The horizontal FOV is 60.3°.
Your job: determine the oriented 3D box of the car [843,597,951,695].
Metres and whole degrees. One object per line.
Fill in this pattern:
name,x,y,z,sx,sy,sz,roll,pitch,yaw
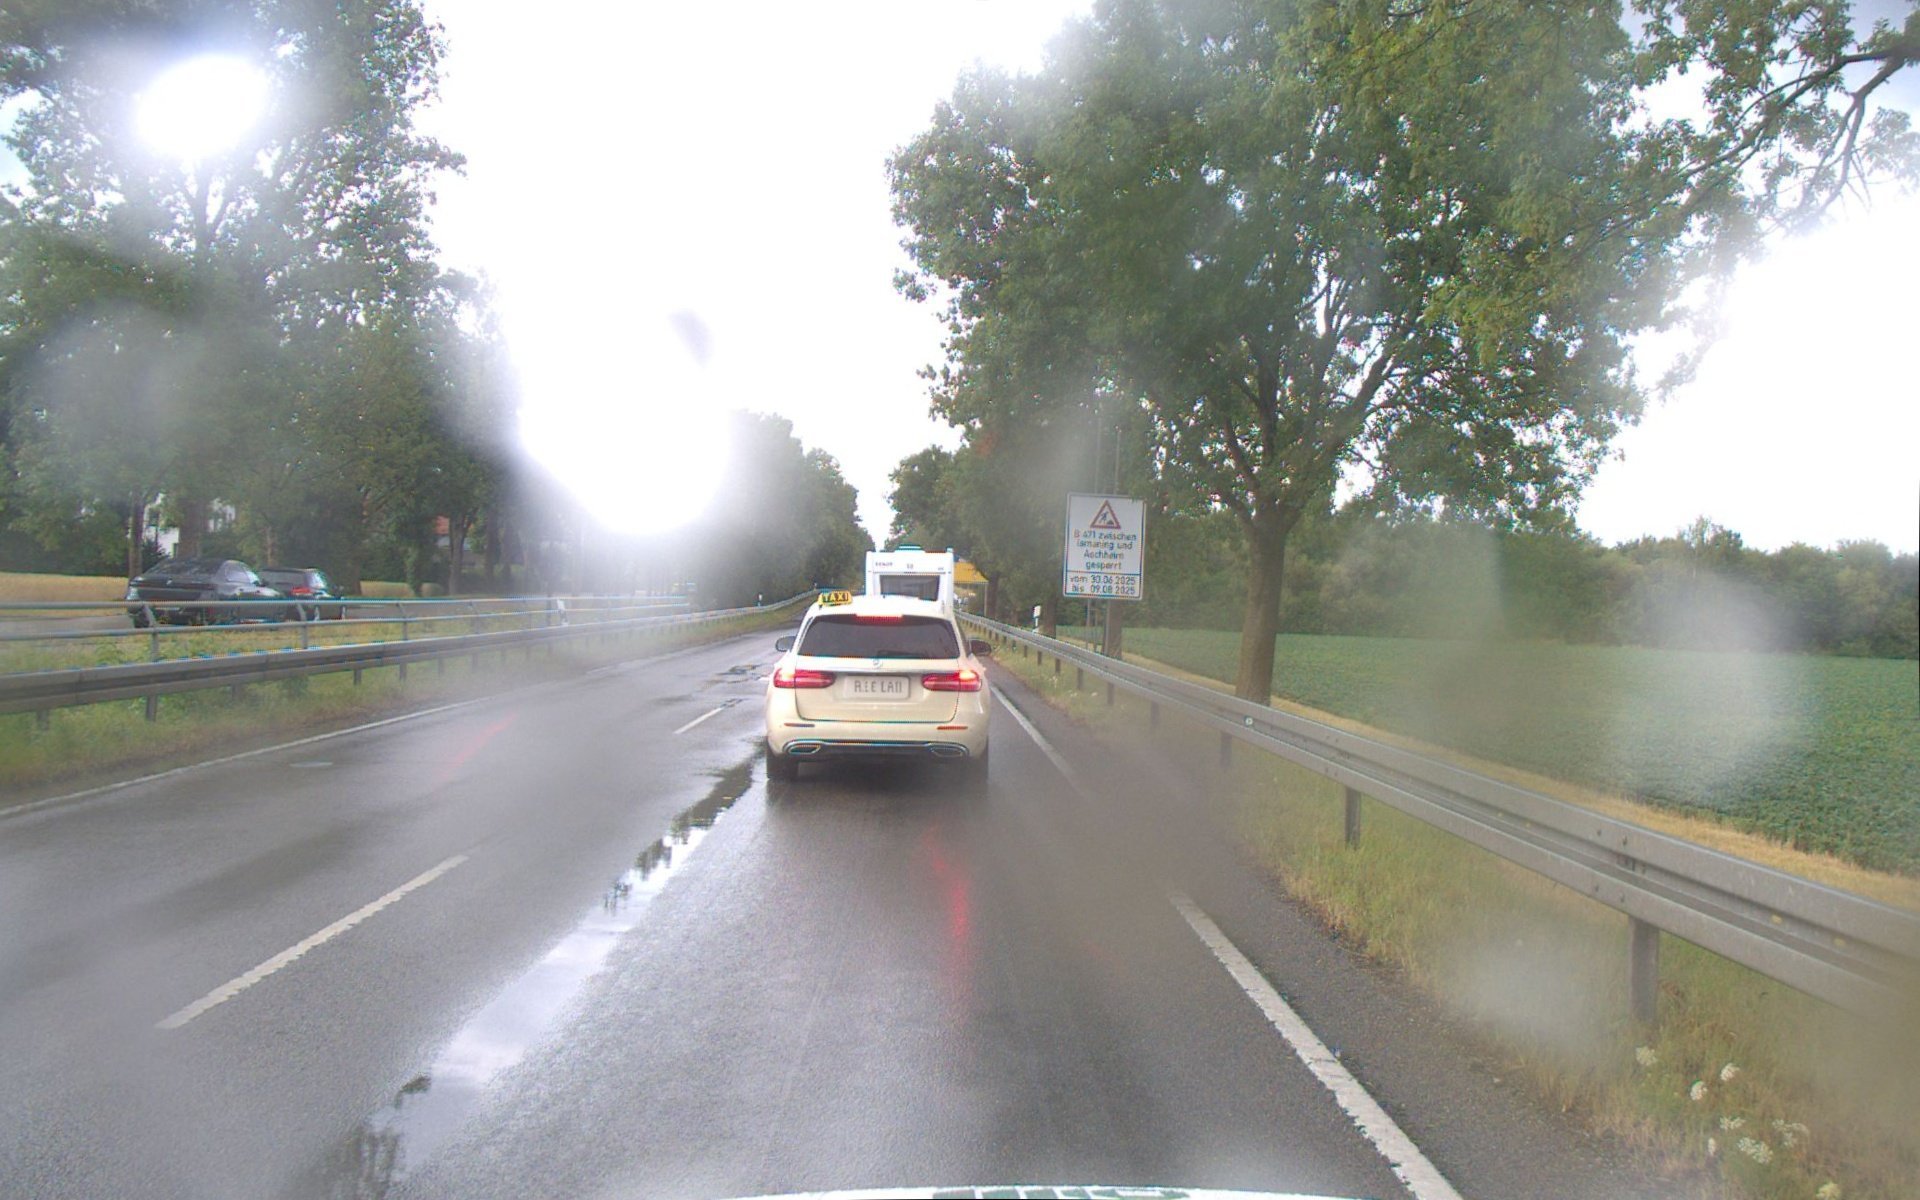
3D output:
car,-0.993,0.696,27.199,1.630,1.456,3.999,1,0,-1

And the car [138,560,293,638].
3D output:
car,-16.047,-0.034,35.937,1.486,1.517,5.115,2,0,-6

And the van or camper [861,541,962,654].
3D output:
van or camper,-1.246,-0.077,43.802,2.439,2.732,5.699,1,0,-1

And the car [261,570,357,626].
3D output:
car,-16.672,-0.065,42.494,1.258,1.354,3.893,2,0,-6

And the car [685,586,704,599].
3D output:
car,-32.429,-0.927,202.035,1.750,1.440,3.997,2,0,-3

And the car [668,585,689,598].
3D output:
car,-32.112,-0.968,188.589,1.749,1.440,3.999,2,0,-1

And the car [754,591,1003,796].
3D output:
car,-0.628,0.687,14.242,1.827,1.502,3.999,1,0,-1
